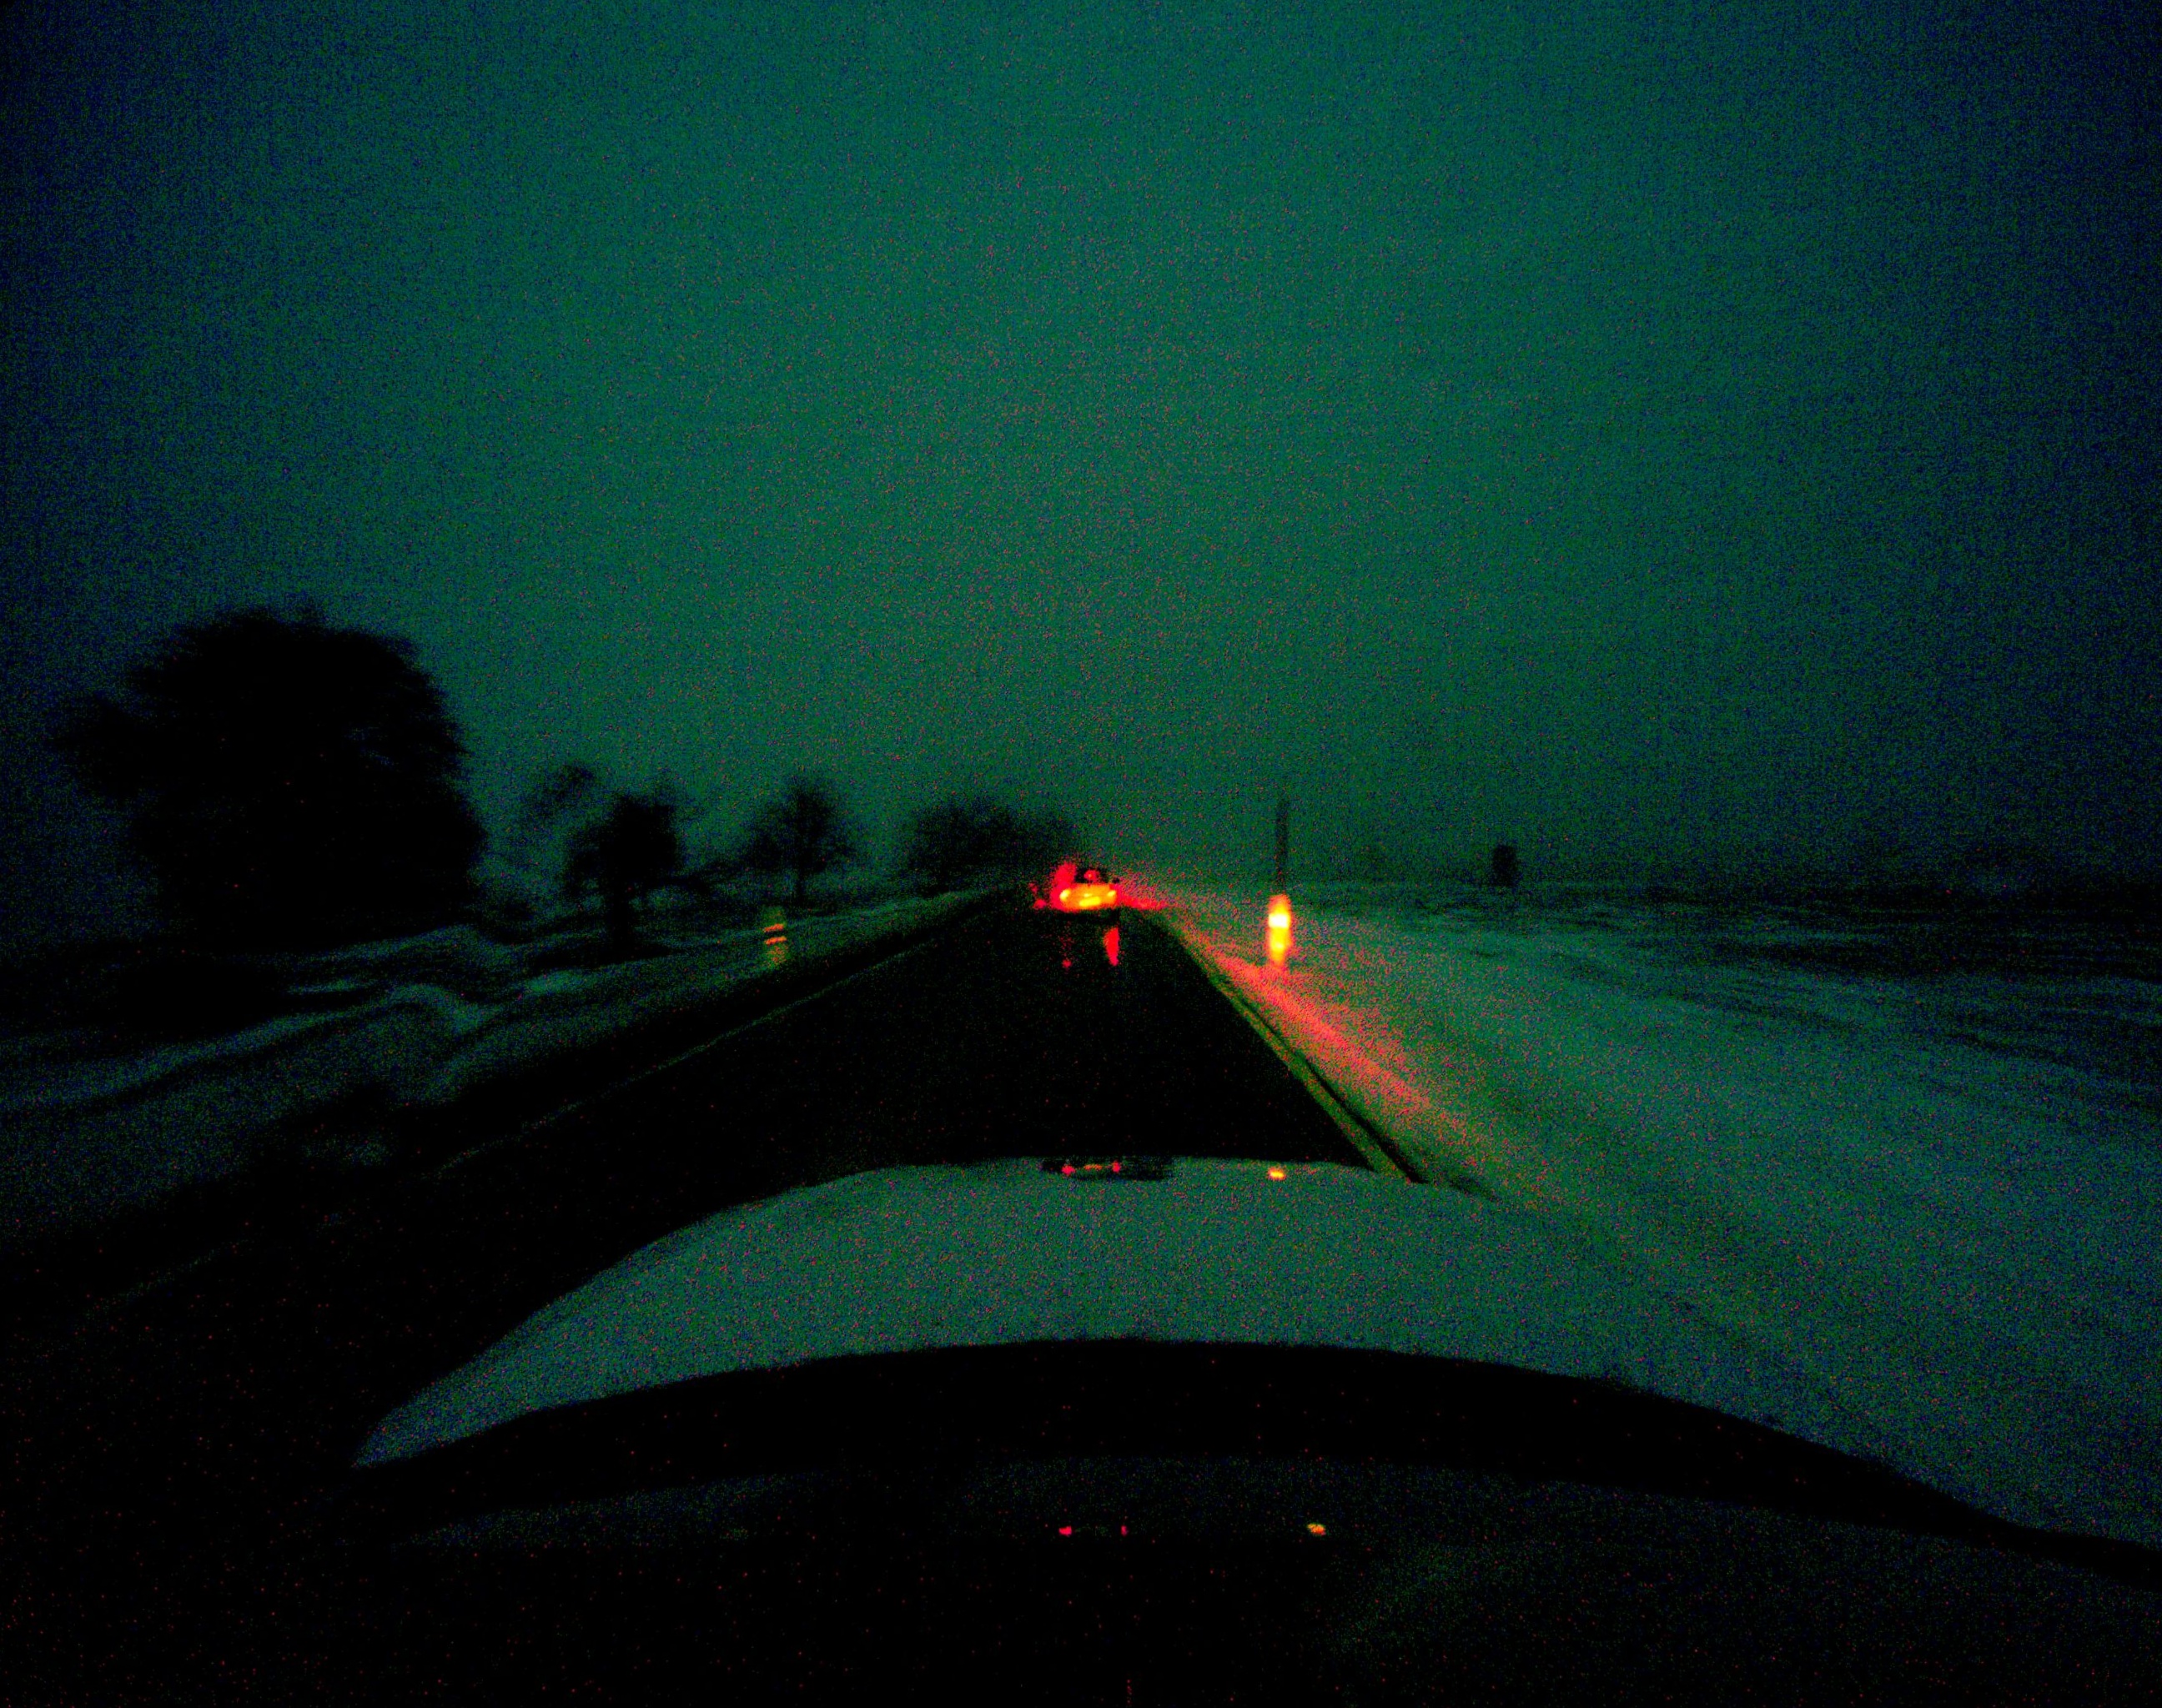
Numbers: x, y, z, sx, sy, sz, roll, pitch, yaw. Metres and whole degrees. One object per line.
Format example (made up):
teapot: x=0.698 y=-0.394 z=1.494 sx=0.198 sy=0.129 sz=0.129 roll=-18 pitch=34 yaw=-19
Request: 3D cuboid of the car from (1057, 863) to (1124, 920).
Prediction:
car: x=0.187 y=0.994 z=23.040 sx=1.702 sy=1.463 sz=3.996 roll=0 pitch=-1 yaw=-2

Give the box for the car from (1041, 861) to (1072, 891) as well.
car: x=-1.281 y=1.153 z=43.525 sx=1.474 sy=1.508 sz=3.052 roll=-2 pitch=-1 yaw=0
